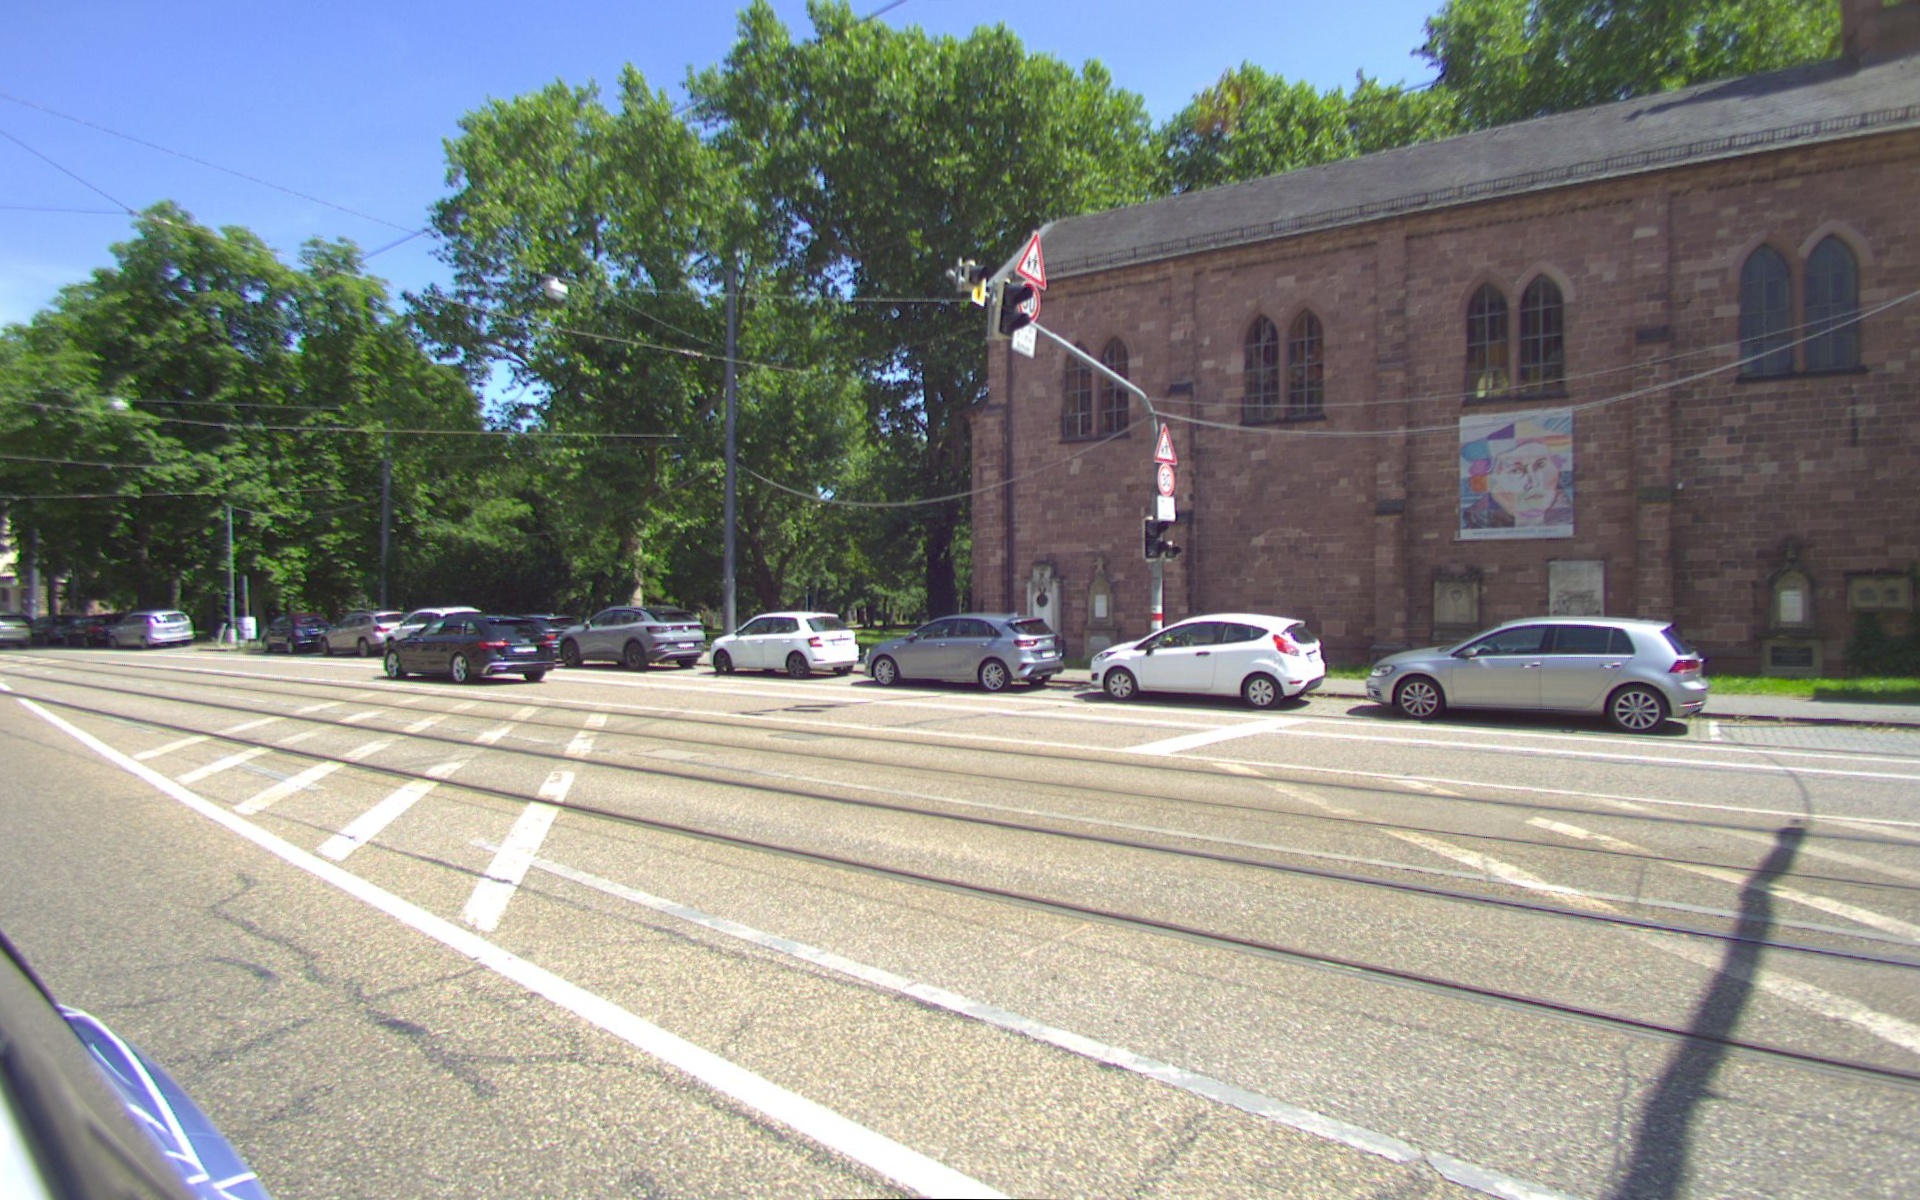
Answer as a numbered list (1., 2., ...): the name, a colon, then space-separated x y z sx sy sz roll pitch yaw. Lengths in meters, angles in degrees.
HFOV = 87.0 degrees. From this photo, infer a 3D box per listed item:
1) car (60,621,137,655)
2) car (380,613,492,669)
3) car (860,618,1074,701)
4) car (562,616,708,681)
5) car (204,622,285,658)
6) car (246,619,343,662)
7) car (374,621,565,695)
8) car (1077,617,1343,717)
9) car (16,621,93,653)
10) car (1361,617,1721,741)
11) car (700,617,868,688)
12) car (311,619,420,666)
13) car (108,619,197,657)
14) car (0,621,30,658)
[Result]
1. car: -40.409 1.753 47.464 3.990 1.475 1.789 -1 0 35
2. car: -16.892 1.272 32.572 3.899 1.665 1.727 -1 0 37
3. car: 0.093 1.102 20.114 4.049 1.470 1.644 -1 0 35
4. car: -8.463 1.196 26.272 3.745 1.535 1.728 -1 0 35
5. car: -29.886 1.632 42.255 3.757 1.390 1.631 -1 0 35
6. car: -25.679 1.518 39.012 4.178 1.509 1.728 -1 0 35
7. car: -10.530 1.167 21.623 4.335 1.405 1.732 -1 0 34
8. car: 4.165 1.049 17.148 4.051 1.470 1.643 -1 0 37
9. car: -45.225 1.816 50.513 3.986 1.475 1.791 -1 0 31
10. car: 8.078 0.998 14.284 4.213 1.470 1.643 -1 0 37
11. car: -4.113 1.157 23.462 3.745 1.470 1.728 -1 0 35
12. car: -20.930 1.456 35.582 4.178 1.509 1.728 -1 0 35
13. car: -35.890 1.644 44.949 3.988 1.574 1.956 -1 0 33
14. car: -40.221 1.631 41.724 3.990 1.475 1.955 -1 0 34
